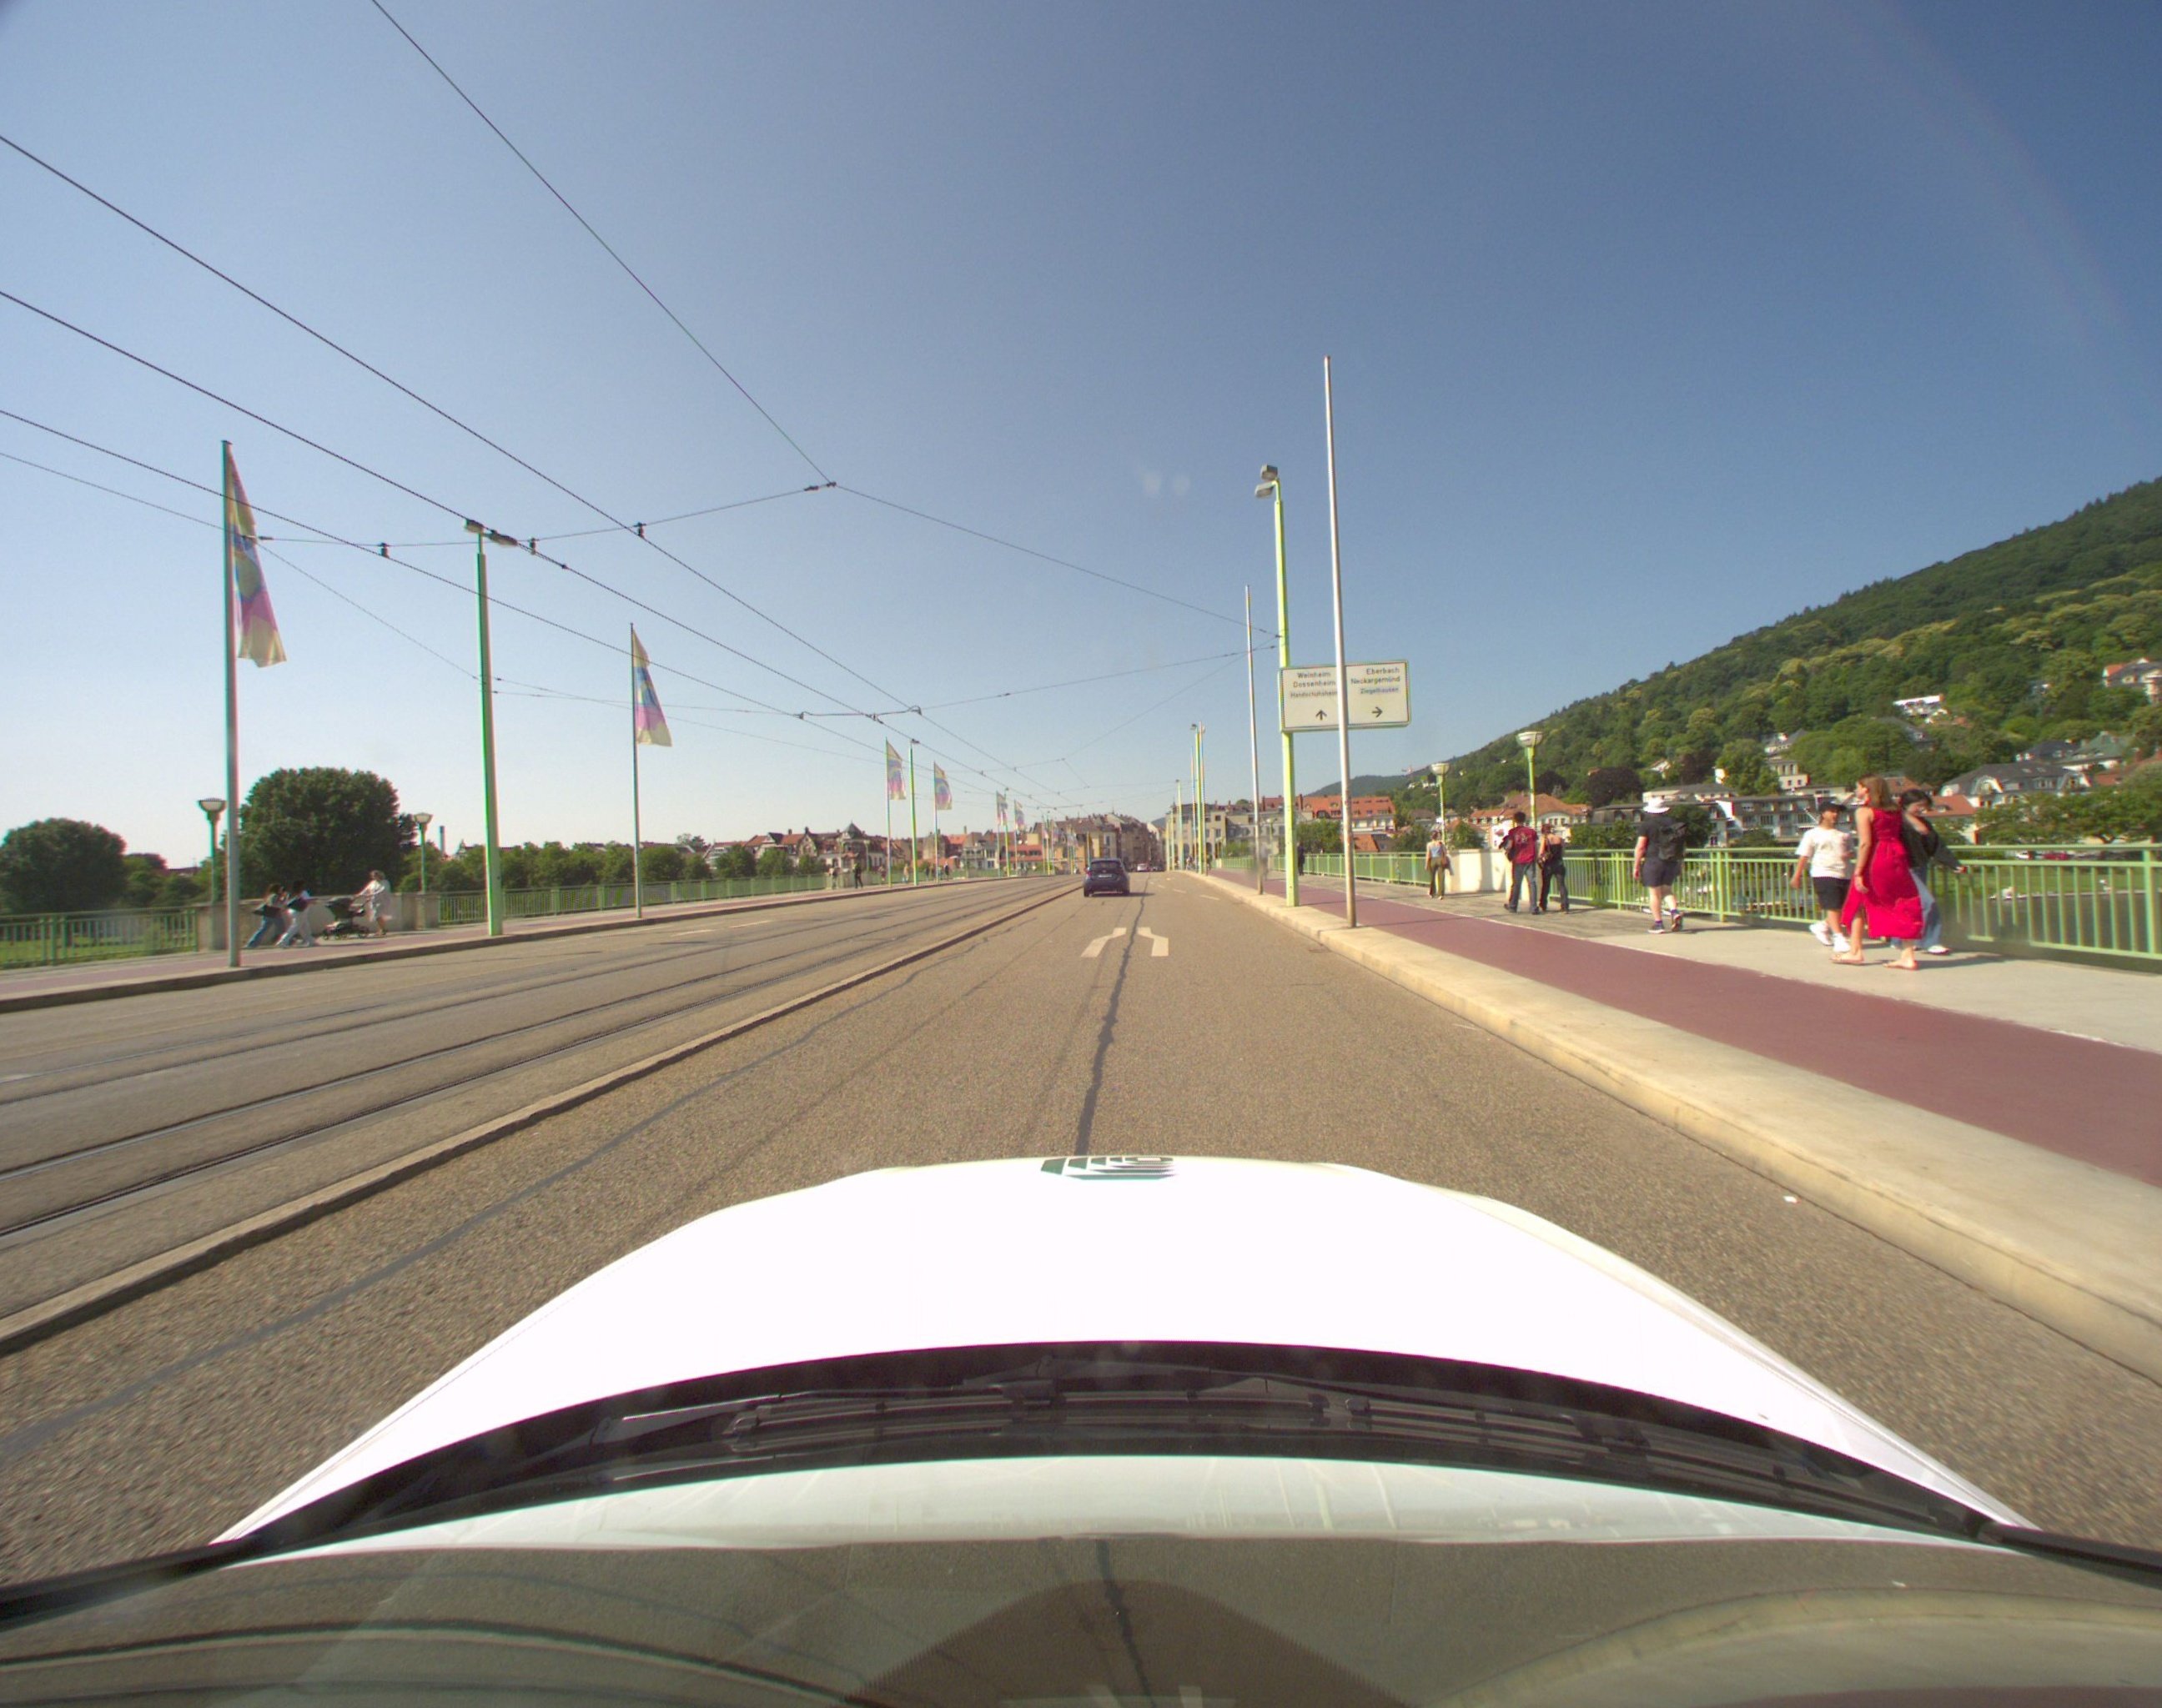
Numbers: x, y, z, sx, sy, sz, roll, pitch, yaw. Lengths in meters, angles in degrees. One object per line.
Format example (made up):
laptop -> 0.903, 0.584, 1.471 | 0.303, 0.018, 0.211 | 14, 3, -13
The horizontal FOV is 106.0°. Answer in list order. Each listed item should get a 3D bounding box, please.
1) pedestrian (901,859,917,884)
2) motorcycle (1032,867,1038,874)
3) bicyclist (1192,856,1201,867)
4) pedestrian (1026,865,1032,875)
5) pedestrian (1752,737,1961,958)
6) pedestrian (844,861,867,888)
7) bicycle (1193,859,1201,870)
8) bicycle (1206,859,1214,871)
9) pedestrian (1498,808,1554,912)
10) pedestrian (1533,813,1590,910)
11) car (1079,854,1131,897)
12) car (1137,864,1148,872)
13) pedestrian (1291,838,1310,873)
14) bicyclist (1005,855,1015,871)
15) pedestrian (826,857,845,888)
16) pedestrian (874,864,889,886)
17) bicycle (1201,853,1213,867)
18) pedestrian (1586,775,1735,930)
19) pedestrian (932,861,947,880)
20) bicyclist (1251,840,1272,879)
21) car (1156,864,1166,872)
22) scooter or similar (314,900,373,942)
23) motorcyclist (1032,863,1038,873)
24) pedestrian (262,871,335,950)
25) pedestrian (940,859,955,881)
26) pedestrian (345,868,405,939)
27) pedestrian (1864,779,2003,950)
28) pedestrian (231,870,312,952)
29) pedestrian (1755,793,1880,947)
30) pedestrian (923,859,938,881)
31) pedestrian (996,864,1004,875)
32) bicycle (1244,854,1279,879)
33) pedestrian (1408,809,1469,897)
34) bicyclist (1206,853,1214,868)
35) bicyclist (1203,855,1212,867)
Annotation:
pedestrian -> -14.069, 1.407, 66.610 | 0.966, 2.013, 1.101 | -2, 0, -1
motorcycle -> -7.293, 2.586, 130.015 | 0.698, 1.110, 2.181 | -2, -1, 4
bicyclist -> 11.598, 0.730, 81.967 | 0.732, 1.030, 1.176 | -2, -1, 3
pedestrian -> -8.781, 2.712, 136.719 | 0.826, 1.722, 1.095 | -2, -1, 5
pedestrian -> 7.358, -0.051, 7.791 | 1.011, 1.954, 0.940 | -2, -1, 2
pedestrian -> -15.301, 1.406, 55.379 | 1.093, 1.758, 1.296 | -2, 0, 2
bicycle -> 11.646, 1.028, 81.959 | 0.616, 1.037, 2.053 | -2, -1, 3
bicycle -> 14.058, 1.190, 89.017 | 0.616, 1.271, 2.218 | -2, -1, 3
pedestrian -> 7.892, 0.109, 14.463 | 0.583, 1.793, 0.632 | -2, -1, 0
pedestrian -> 8.465, 0.137, 14.372 | 0.521, 1.649, 0.699 | -2, -1, -1
car -> 1.015, 0.825, 32.901 | 1.902, 1.540, 4.003 | -3, 0, 2
car -> 11.393, 2.569, 150.683 | 1.797, 1.469, 4.002 | -4, -1, 2
pedestrian -> 11.080, 0.074, 41.080 | 0.652, 1.743, 0.978 | -2, 1, -1
bicyclist -> -9.429, 1.183, 107.896 | 1.093, 1.961, 1.130 | 1, 0, 2
pedestrian -> -16.465, 1.254, 54.675 | 0.895, 2.013, 1.042 | -2, 0, 2
pedestrian -> -15.456, 1.613, 63.117 | 0.751, 1.722, 1.176 | -2, -1, 2
bicycle -> 11.461, 0.536, 73.973 | 0.693, 1.193, 2.079 | -3, -1, 0
pedestrian -> 7.601, -0.012, 10.757 | 0.982, 1.895, 1.253 | -2, -1, -1
pedestrian -> -13.457, 1.548, 77.552 | 1.093, 1.729, 1.296 | 0, 0, 2
bicyclist -> 8.382, 0.241, 37.821 | 0.671, 1.744, 1.150 | -3, -1, 0
car -> 15.877, 2.872, 162.196 | 1.794, 1.469, 4.008 | -4, -1, 7
scooter or similar -> -19.207, 1.737, 21.217 | 0.736, 1.029, 0.833 | 1, 0, 2
motorcyclist -> -7.288, 2.182, 130.041 | 0.797, 1.549, 1.070 | -2, -1, 4
pedestrian -> -18.507, 1.311, 19.284 | 0.736, 1.784, 0.958 | 1, 0, 2
pedestrian -> -12.812, 1.550, 78.044 | 1.093, 2.013, 1.296 | -2, 0, 2
pedestrian -> -19.168, 1.326, 22.131 | 0.736, 1.853, 0.976 | 1, 0, 2
pedestrian -> 8.540, 0.105, 8.192 | 0.646, 1.631, 0.693 | -1, 0, 5
pedestrian -> -19.044, 1.320, 19.183 | 0.736, 1.849, 1.122 | 1, 0, 2
pedestrian -> 7.915, 0.165, 8.774 | 0.648, 1.562, 0.691 | -3, 0, -3
pedestrian -> -14.386, 1.537, 77.934 | 1.093, 2.013, 1.130 | -2, 0, 2
pedestrian -> -11.754, 2.267, 118.266 | 0.894, 1.658, 1.030 | -2, -1, 7
bicycle -> 8.401, 0.579, 38.020 | 0.789, 1.096, 3.744 | -3, -1, 1
pedestrian -> 8.466, -0.021, 19.332 | 0.871, 2.014, 1.059 | -2, -1, -1
bicyclist -> 14.039, 0.711, 88.913 | 0.732, 1.635, 0.867 | -2, -1, 3
bicyclist -> 11.487, 0.611, 73.965 | 0.664, 1.045, 0.980 | -2, -1, -1
